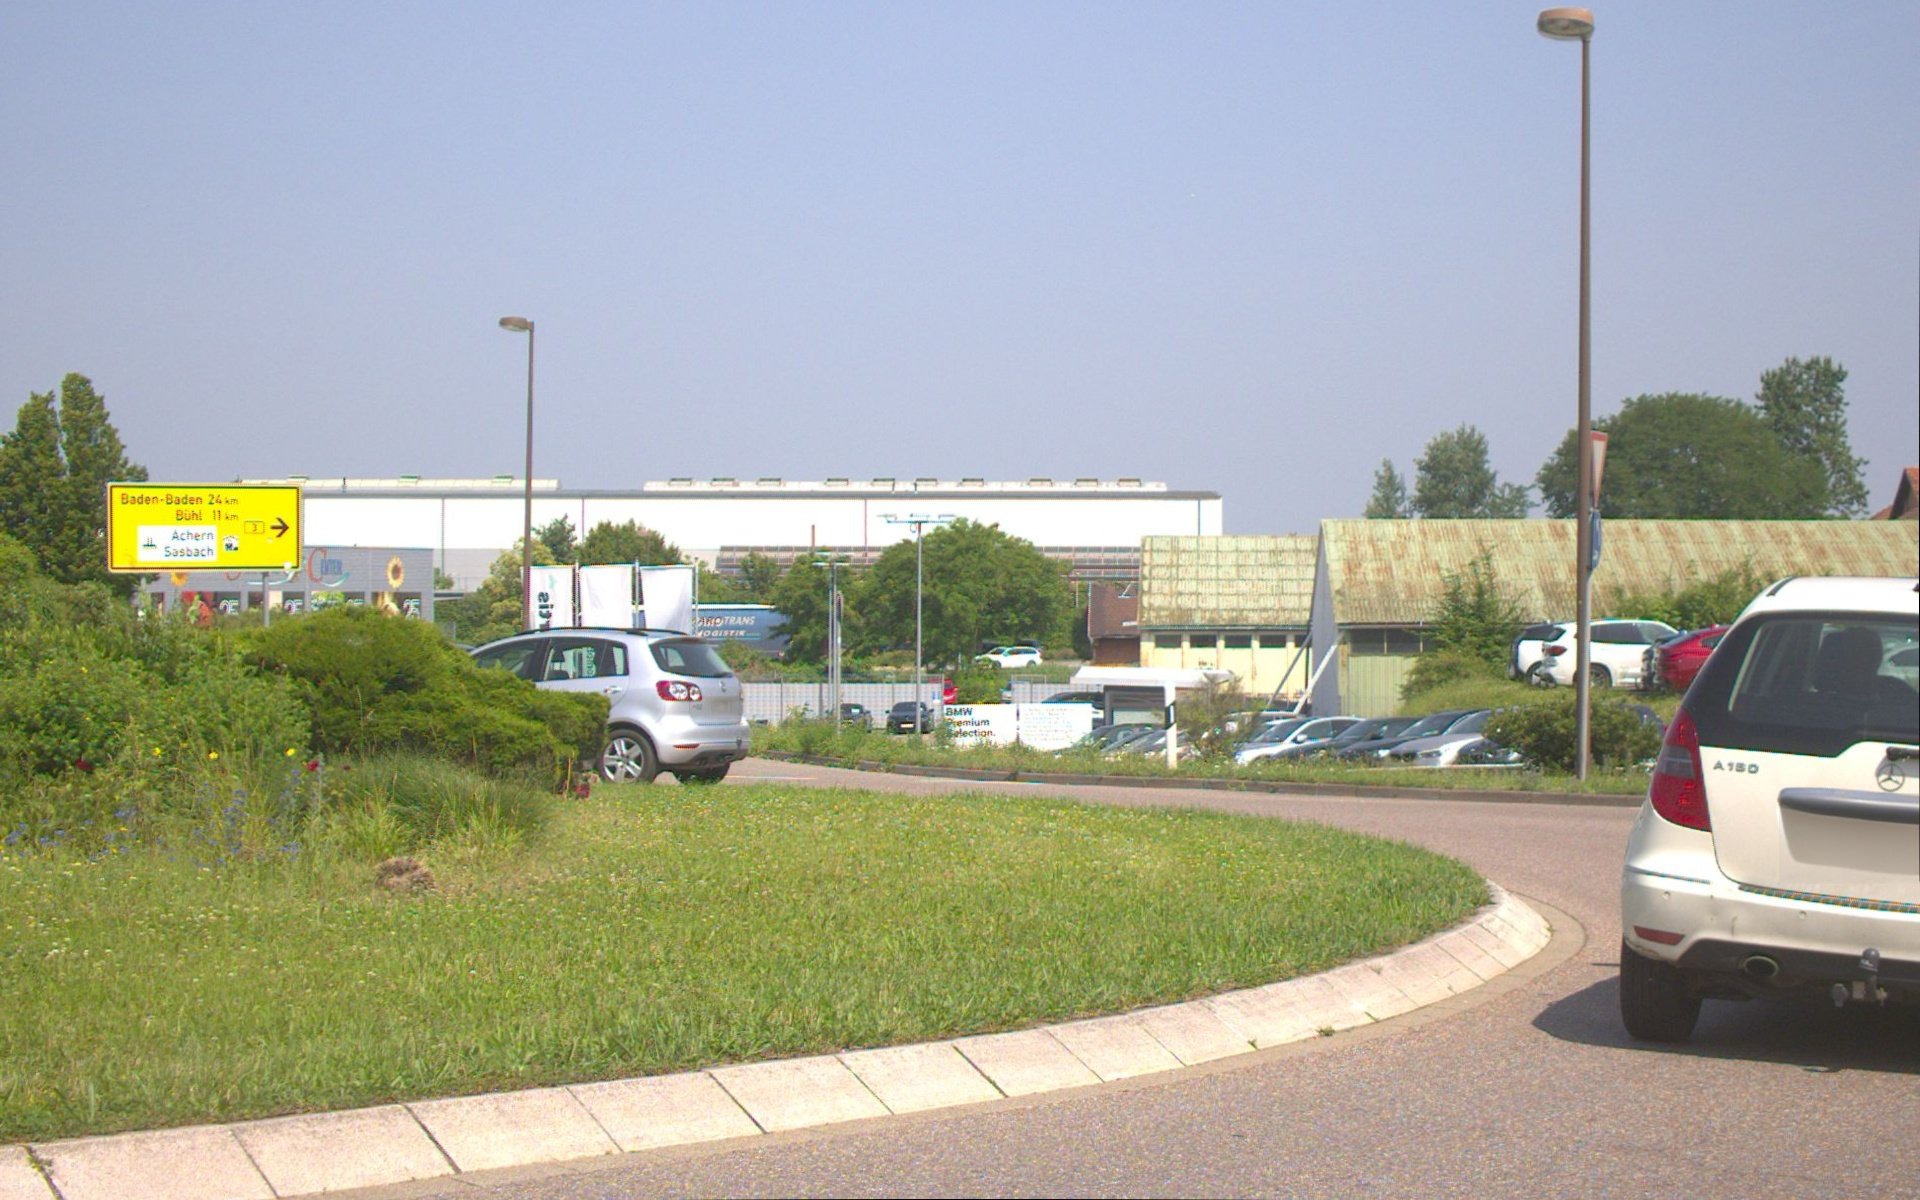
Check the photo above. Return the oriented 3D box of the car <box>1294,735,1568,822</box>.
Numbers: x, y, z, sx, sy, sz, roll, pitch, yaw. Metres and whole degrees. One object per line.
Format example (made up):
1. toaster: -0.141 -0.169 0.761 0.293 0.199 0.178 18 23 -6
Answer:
1. car: 9.052 3.432 66.104 4.765 1.503 2.000 -1 -3 -18

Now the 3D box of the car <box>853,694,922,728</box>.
1. car: -3.099 4.797 148.233 1.995 1.393 3.997 1 -2 13

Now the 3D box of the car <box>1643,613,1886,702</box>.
1. car: 16.164 1.159 69.262 4.453 1.741 1.949 0 -1 1

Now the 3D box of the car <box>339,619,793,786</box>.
1. car: -3.898 1.008 34.185 4.076 1.525 1.783 1 -2 17

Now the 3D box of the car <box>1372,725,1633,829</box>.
1. car: 9.990 3.259 63.430 4.247 1.742 2.000 -1 -3 -18

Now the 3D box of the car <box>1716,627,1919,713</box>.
1. car: 17.048 1.348 66.423 4.453 1.629 1.949 0 -1 1

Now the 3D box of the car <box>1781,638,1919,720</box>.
1. car: 17.715 1.450 63.910 4.453 1.495 1.949 0 0 1

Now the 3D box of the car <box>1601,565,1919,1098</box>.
1. car: 3.647 0.714 12.278 1.783 1.598 3.888 2 1 24

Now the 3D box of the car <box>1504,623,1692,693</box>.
1. car: 14.181 1.283 76.536 3.875 1.527 1.768 0 -1 1

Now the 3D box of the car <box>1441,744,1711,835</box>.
1. car: 10.869 3.343 60.723 4.247 1.460 1.874 -1 -3 -18

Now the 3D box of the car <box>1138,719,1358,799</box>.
1. car: 5.878 3.254 70.277 3.986 1.547 2.000 0 -3 -22

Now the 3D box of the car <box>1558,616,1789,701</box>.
1. car: 14.884 1.225 71.879 4.453 1.741 1.839 0 -1 1

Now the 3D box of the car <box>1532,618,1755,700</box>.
1. car: 14.713 1.273 74.198 4.453 1.741 1.839 0 -1 1

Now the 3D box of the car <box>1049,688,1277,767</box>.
1. car: 4.429 2.804 74.986 4.479 1.634 2.148 2 -3 -22
